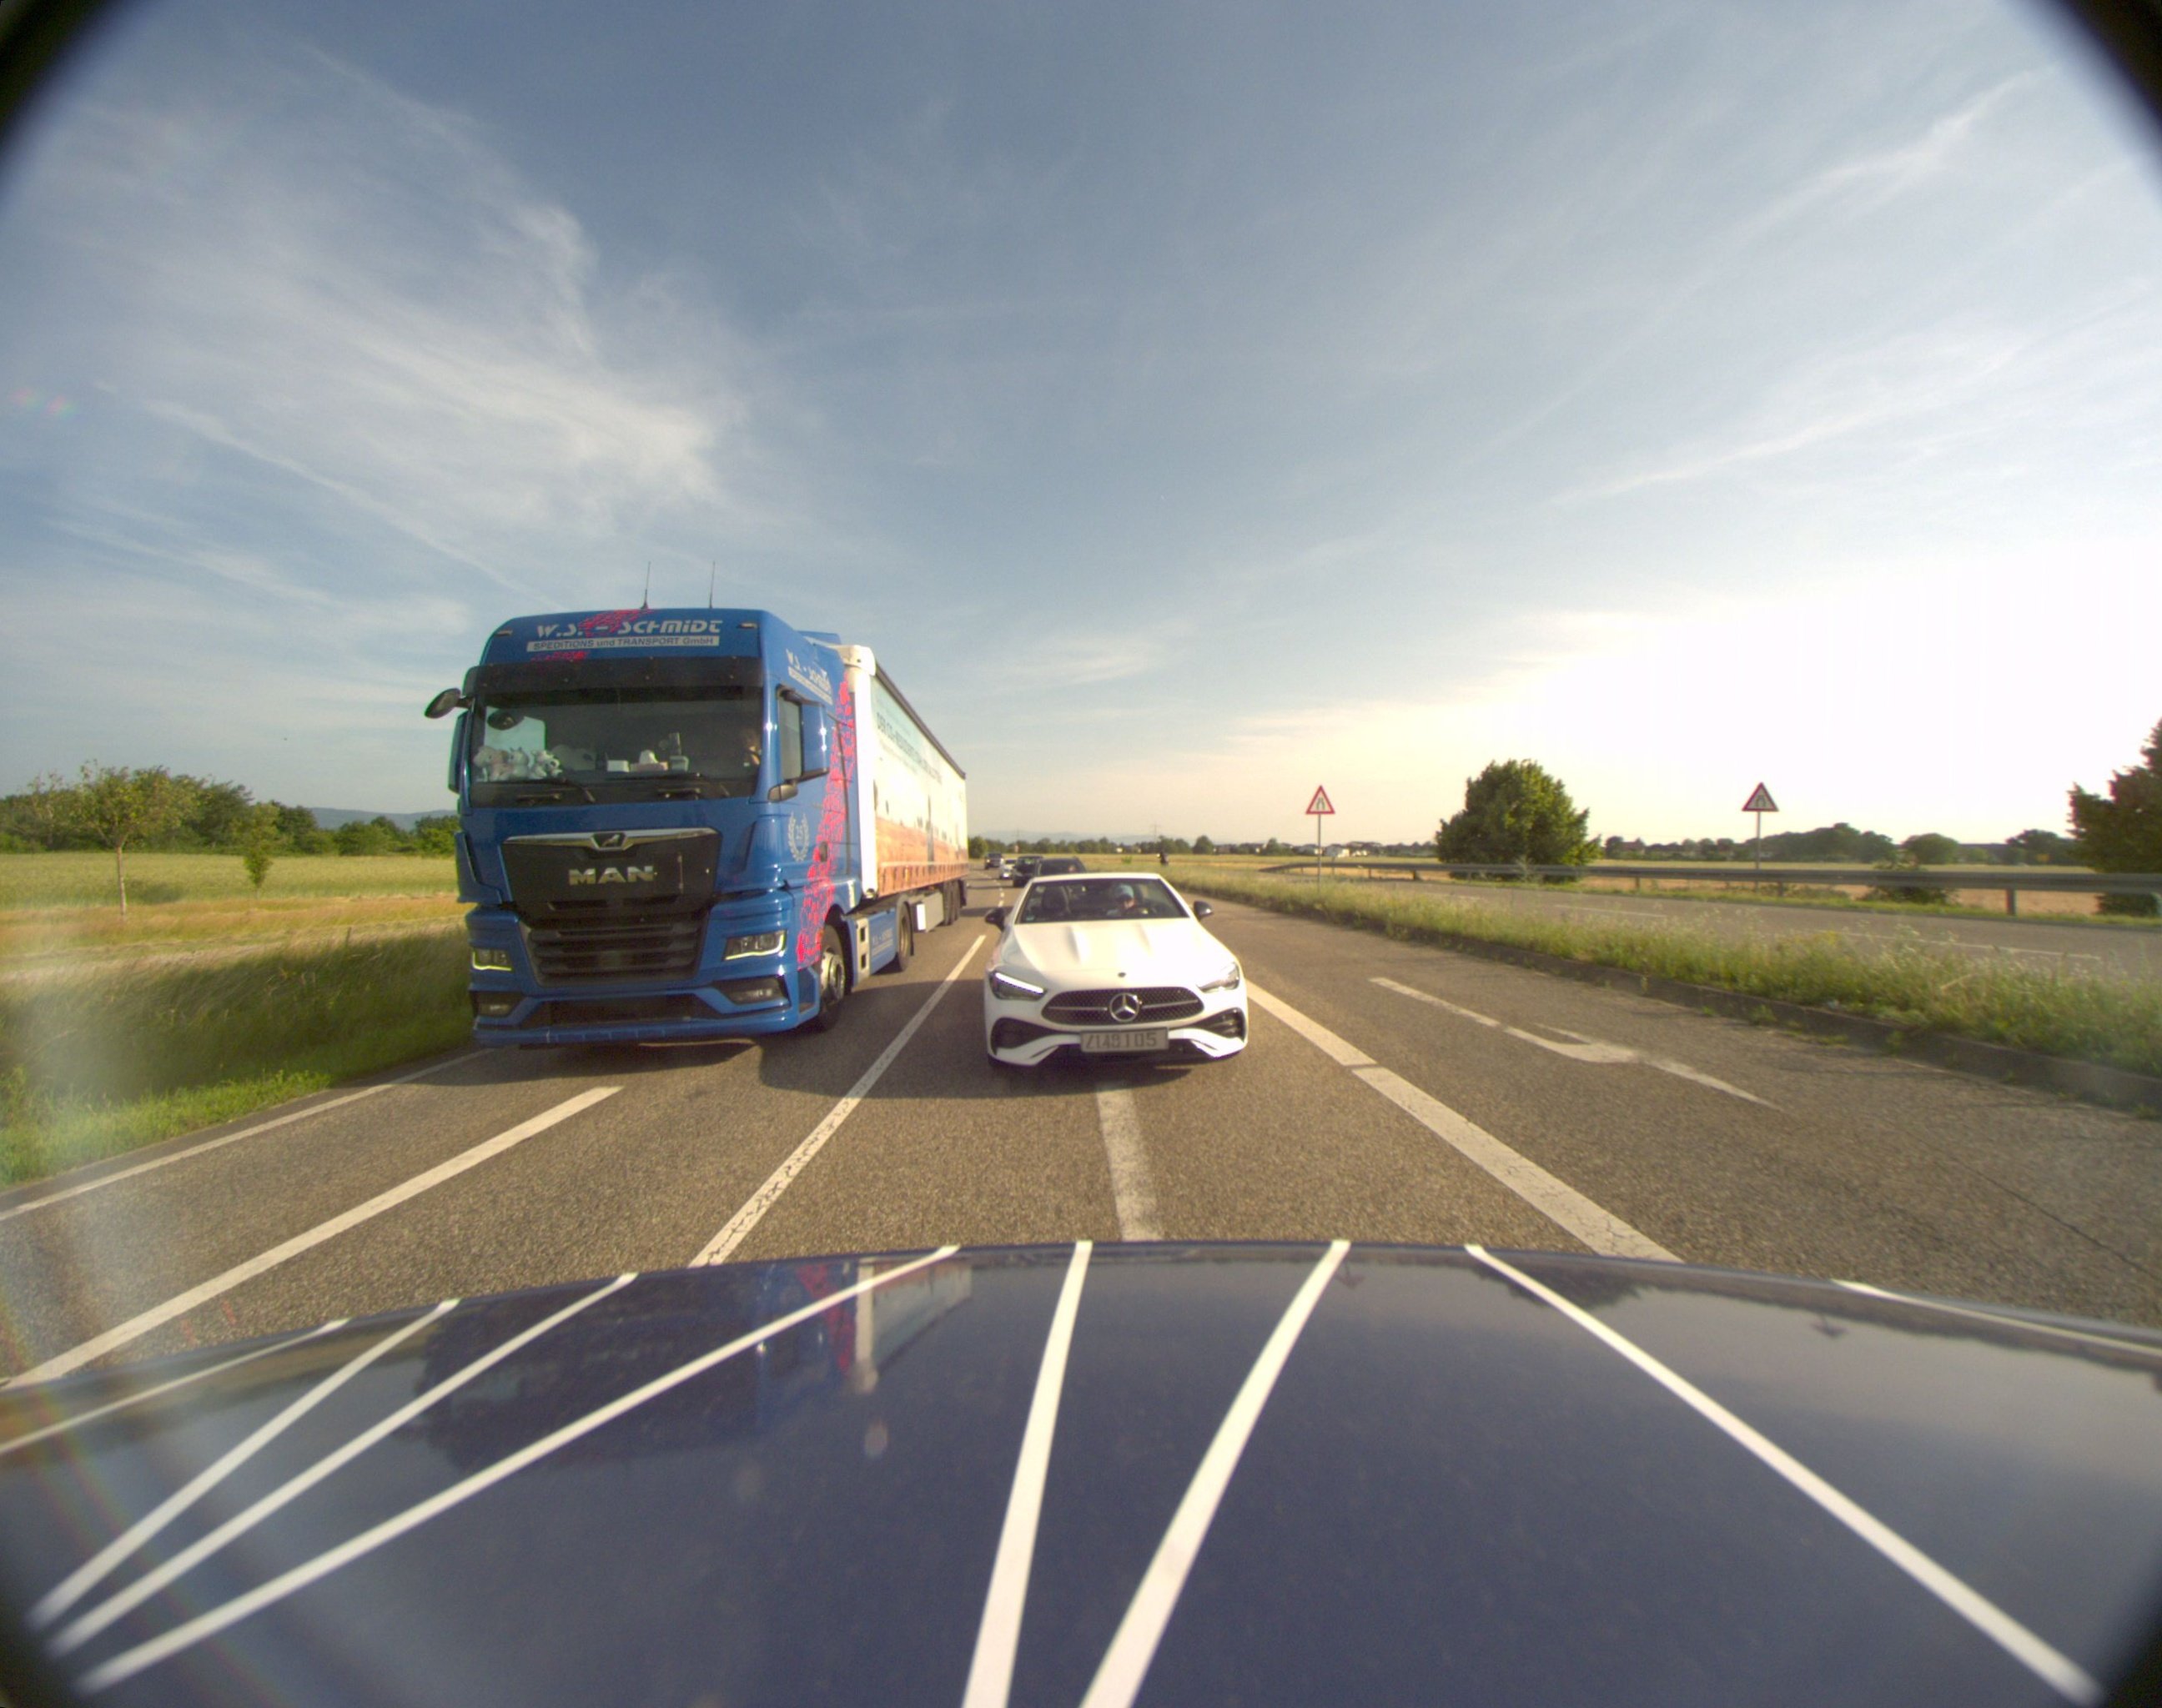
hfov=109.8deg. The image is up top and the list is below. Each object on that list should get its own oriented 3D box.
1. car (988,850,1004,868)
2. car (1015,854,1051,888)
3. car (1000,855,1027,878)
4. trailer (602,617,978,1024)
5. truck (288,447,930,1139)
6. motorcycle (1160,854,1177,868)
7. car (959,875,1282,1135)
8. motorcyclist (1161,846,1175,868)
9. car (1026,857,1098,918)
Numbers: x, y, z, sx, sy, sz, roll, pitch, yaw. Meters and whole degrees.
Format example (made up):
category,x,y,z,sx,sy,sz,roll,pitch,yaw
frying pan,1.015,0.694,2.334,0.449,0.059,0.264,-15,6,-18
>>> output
category,x,y,z,sx,sy,sz,roll,pitch,yaw
car,-9.185,0.498,82.360,1.558,1.909,4.032,-1,0,-8
car,-2.407,0.801,37.638,1.558,1.550,3.046,-1,0,-8
car,-4.551,0.806,50.996,1.558,1.392,4.032,-1,0,-8
trailer,-4.238,-0.510,15.424,3.291,4.654,13.139,-2,1,-4
truck,-3.733,-0.463,8.063,3.309,4.631,5.729,-2,1,-4
motorcycle,7.108,0.540,61.881,0.940,1.118,2.169,-2,0,-5
car,0.196,0.977,6.619,1.941,1.389,3.917,-2,1,-2
motorcyclist,7.096,0.212,61.869,0.906,1.748,0.831,-2,1,-6
car,-0.614,0.864,21.255,1.586,1.496,3.658,-1,0,-8
